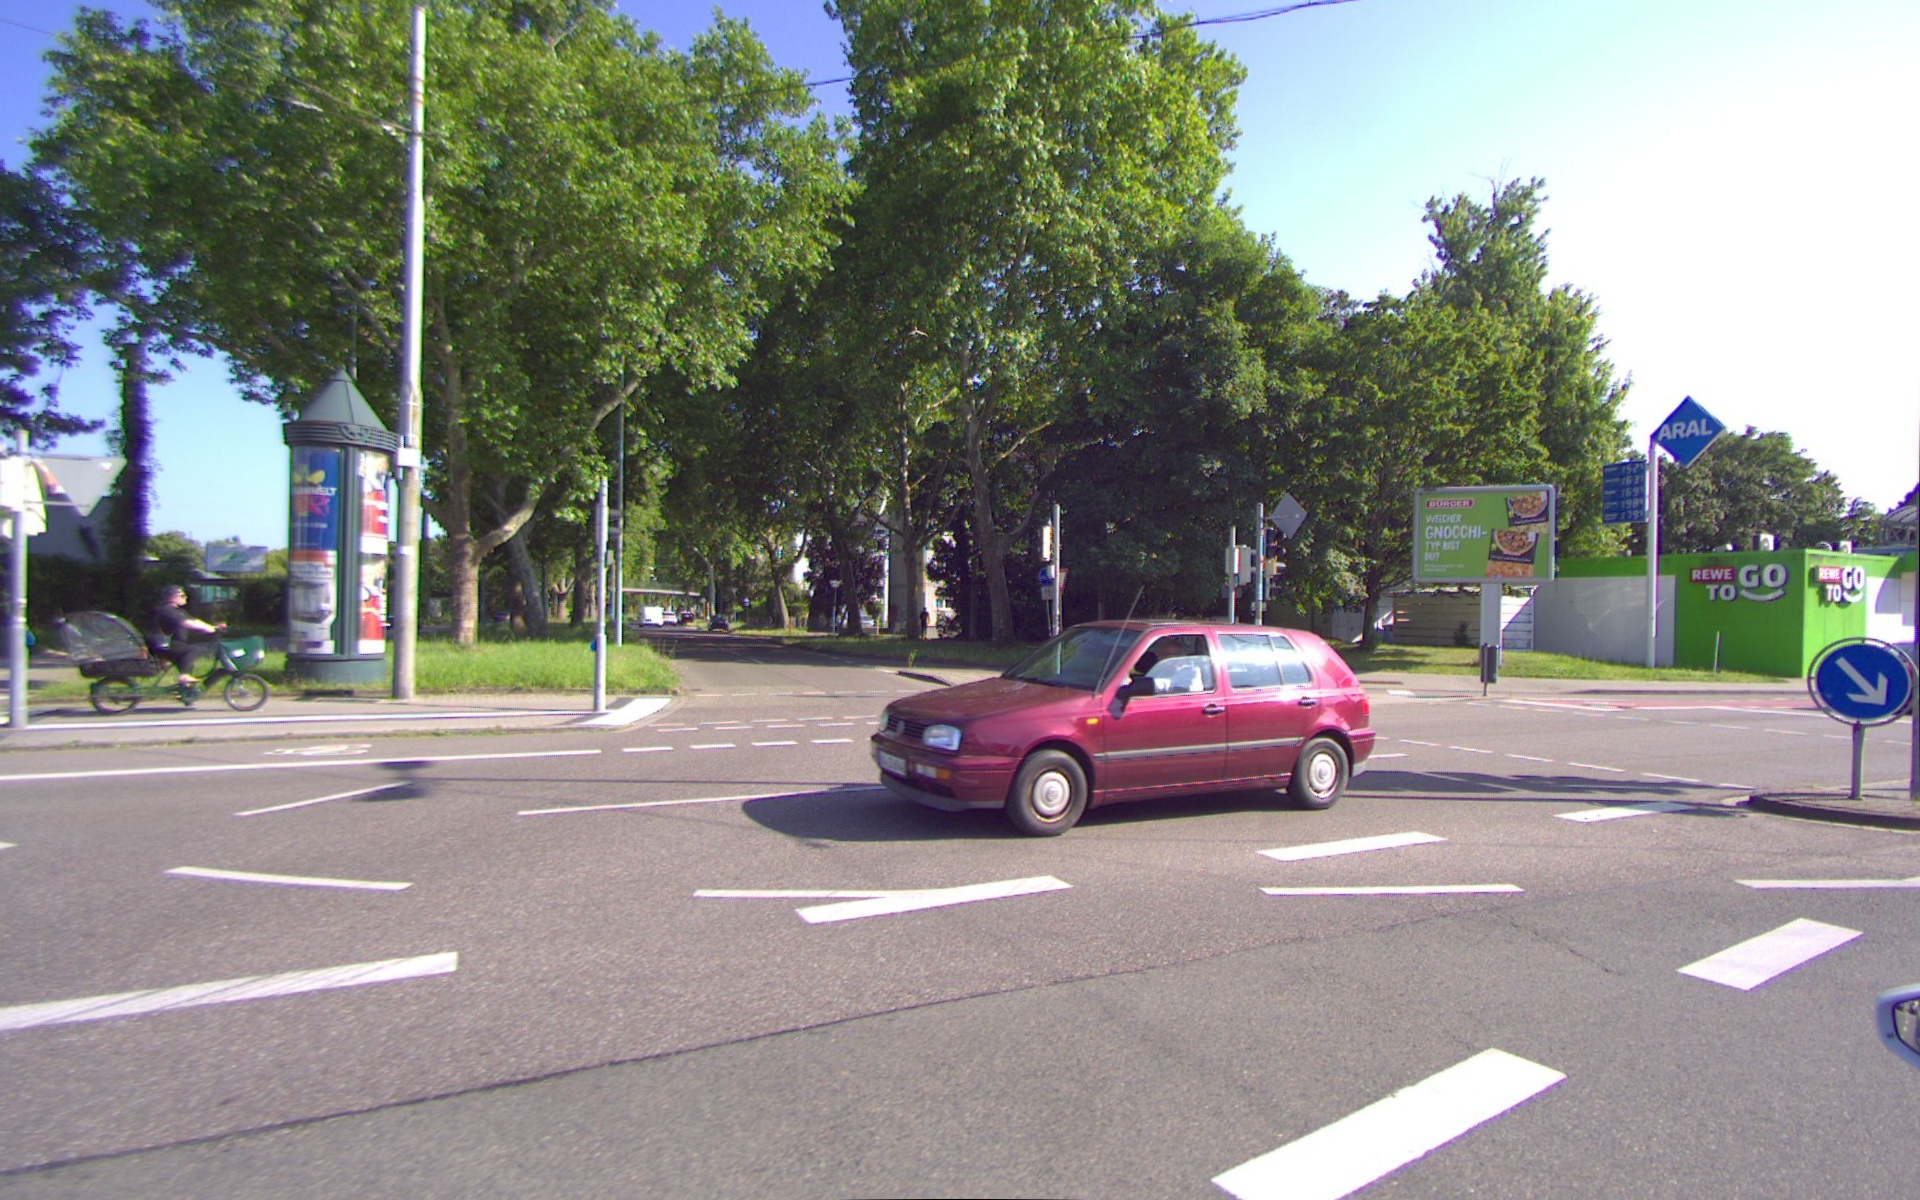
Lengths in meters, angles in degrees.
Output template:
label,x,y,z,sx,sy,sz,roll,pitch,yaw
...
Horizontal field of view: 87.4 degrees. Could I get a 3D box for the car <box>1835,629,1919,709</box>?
label,x,y,z,sx,sy,sz,roll,pitch,yaw
car,18.706,1.301,19.411,3.289,1.436,1.569,1,-1,-26

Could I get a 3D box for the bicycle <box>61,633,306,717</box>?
label,x,y,z,sx,sy,sz,roll,pitch,yaw
bicycle,-10.521,1.007,13.744,2.544,1.063,0.660,1,-1,-24

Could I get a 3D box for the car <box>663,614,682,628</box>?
label,x,y,z,sx,sy,sz,roll,pitch,yaw
car,-32.088,2.318,112.069,1.796,1.425,3.524,1,-1,-20

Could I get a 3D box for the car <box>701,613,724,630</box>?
label,x,y,z,sx,sy,sz,roll,pitch,yaw
car,-23.992,2.076,97.252,1.796,1.544,3.524,1,-1,-20

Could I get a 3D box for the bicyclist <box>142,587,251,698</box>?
label,x,y,z,sx,sy,sz,roll,pitch,yaw
bicyclist,-10.445,0.577,13.777,1.036,1.472,0.660,1,0,-23

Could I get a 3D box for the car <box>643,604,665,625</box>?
label,x,y,z,sx,sy,sz,roll,pitch,yaw
car,-29.777,1.391,97.575,1.796,1.989,4.383,1,-1,-20

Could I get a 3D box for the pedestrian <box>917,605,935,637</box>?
label,x,y,z,sx,sy,sz,roll,pitch,yaw
pedestrian,-1.939,1.170,56.895,0.862,1.793,0.685,1,0,-13

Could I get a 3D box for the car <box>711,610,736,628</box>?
label,x,y,z,sx,sy,sz,roll,pitch,yaw
car,-21.464,1.732,91.080,1.796,1.544,3.524,1,-1,-20

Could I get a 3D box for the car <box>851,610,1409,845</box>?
label,x,y,z,sx,sy,sz,roll,pitch,yaw
car,1.368,0.815,7.752,4.080,1.414,1.647,1,-1,-27
